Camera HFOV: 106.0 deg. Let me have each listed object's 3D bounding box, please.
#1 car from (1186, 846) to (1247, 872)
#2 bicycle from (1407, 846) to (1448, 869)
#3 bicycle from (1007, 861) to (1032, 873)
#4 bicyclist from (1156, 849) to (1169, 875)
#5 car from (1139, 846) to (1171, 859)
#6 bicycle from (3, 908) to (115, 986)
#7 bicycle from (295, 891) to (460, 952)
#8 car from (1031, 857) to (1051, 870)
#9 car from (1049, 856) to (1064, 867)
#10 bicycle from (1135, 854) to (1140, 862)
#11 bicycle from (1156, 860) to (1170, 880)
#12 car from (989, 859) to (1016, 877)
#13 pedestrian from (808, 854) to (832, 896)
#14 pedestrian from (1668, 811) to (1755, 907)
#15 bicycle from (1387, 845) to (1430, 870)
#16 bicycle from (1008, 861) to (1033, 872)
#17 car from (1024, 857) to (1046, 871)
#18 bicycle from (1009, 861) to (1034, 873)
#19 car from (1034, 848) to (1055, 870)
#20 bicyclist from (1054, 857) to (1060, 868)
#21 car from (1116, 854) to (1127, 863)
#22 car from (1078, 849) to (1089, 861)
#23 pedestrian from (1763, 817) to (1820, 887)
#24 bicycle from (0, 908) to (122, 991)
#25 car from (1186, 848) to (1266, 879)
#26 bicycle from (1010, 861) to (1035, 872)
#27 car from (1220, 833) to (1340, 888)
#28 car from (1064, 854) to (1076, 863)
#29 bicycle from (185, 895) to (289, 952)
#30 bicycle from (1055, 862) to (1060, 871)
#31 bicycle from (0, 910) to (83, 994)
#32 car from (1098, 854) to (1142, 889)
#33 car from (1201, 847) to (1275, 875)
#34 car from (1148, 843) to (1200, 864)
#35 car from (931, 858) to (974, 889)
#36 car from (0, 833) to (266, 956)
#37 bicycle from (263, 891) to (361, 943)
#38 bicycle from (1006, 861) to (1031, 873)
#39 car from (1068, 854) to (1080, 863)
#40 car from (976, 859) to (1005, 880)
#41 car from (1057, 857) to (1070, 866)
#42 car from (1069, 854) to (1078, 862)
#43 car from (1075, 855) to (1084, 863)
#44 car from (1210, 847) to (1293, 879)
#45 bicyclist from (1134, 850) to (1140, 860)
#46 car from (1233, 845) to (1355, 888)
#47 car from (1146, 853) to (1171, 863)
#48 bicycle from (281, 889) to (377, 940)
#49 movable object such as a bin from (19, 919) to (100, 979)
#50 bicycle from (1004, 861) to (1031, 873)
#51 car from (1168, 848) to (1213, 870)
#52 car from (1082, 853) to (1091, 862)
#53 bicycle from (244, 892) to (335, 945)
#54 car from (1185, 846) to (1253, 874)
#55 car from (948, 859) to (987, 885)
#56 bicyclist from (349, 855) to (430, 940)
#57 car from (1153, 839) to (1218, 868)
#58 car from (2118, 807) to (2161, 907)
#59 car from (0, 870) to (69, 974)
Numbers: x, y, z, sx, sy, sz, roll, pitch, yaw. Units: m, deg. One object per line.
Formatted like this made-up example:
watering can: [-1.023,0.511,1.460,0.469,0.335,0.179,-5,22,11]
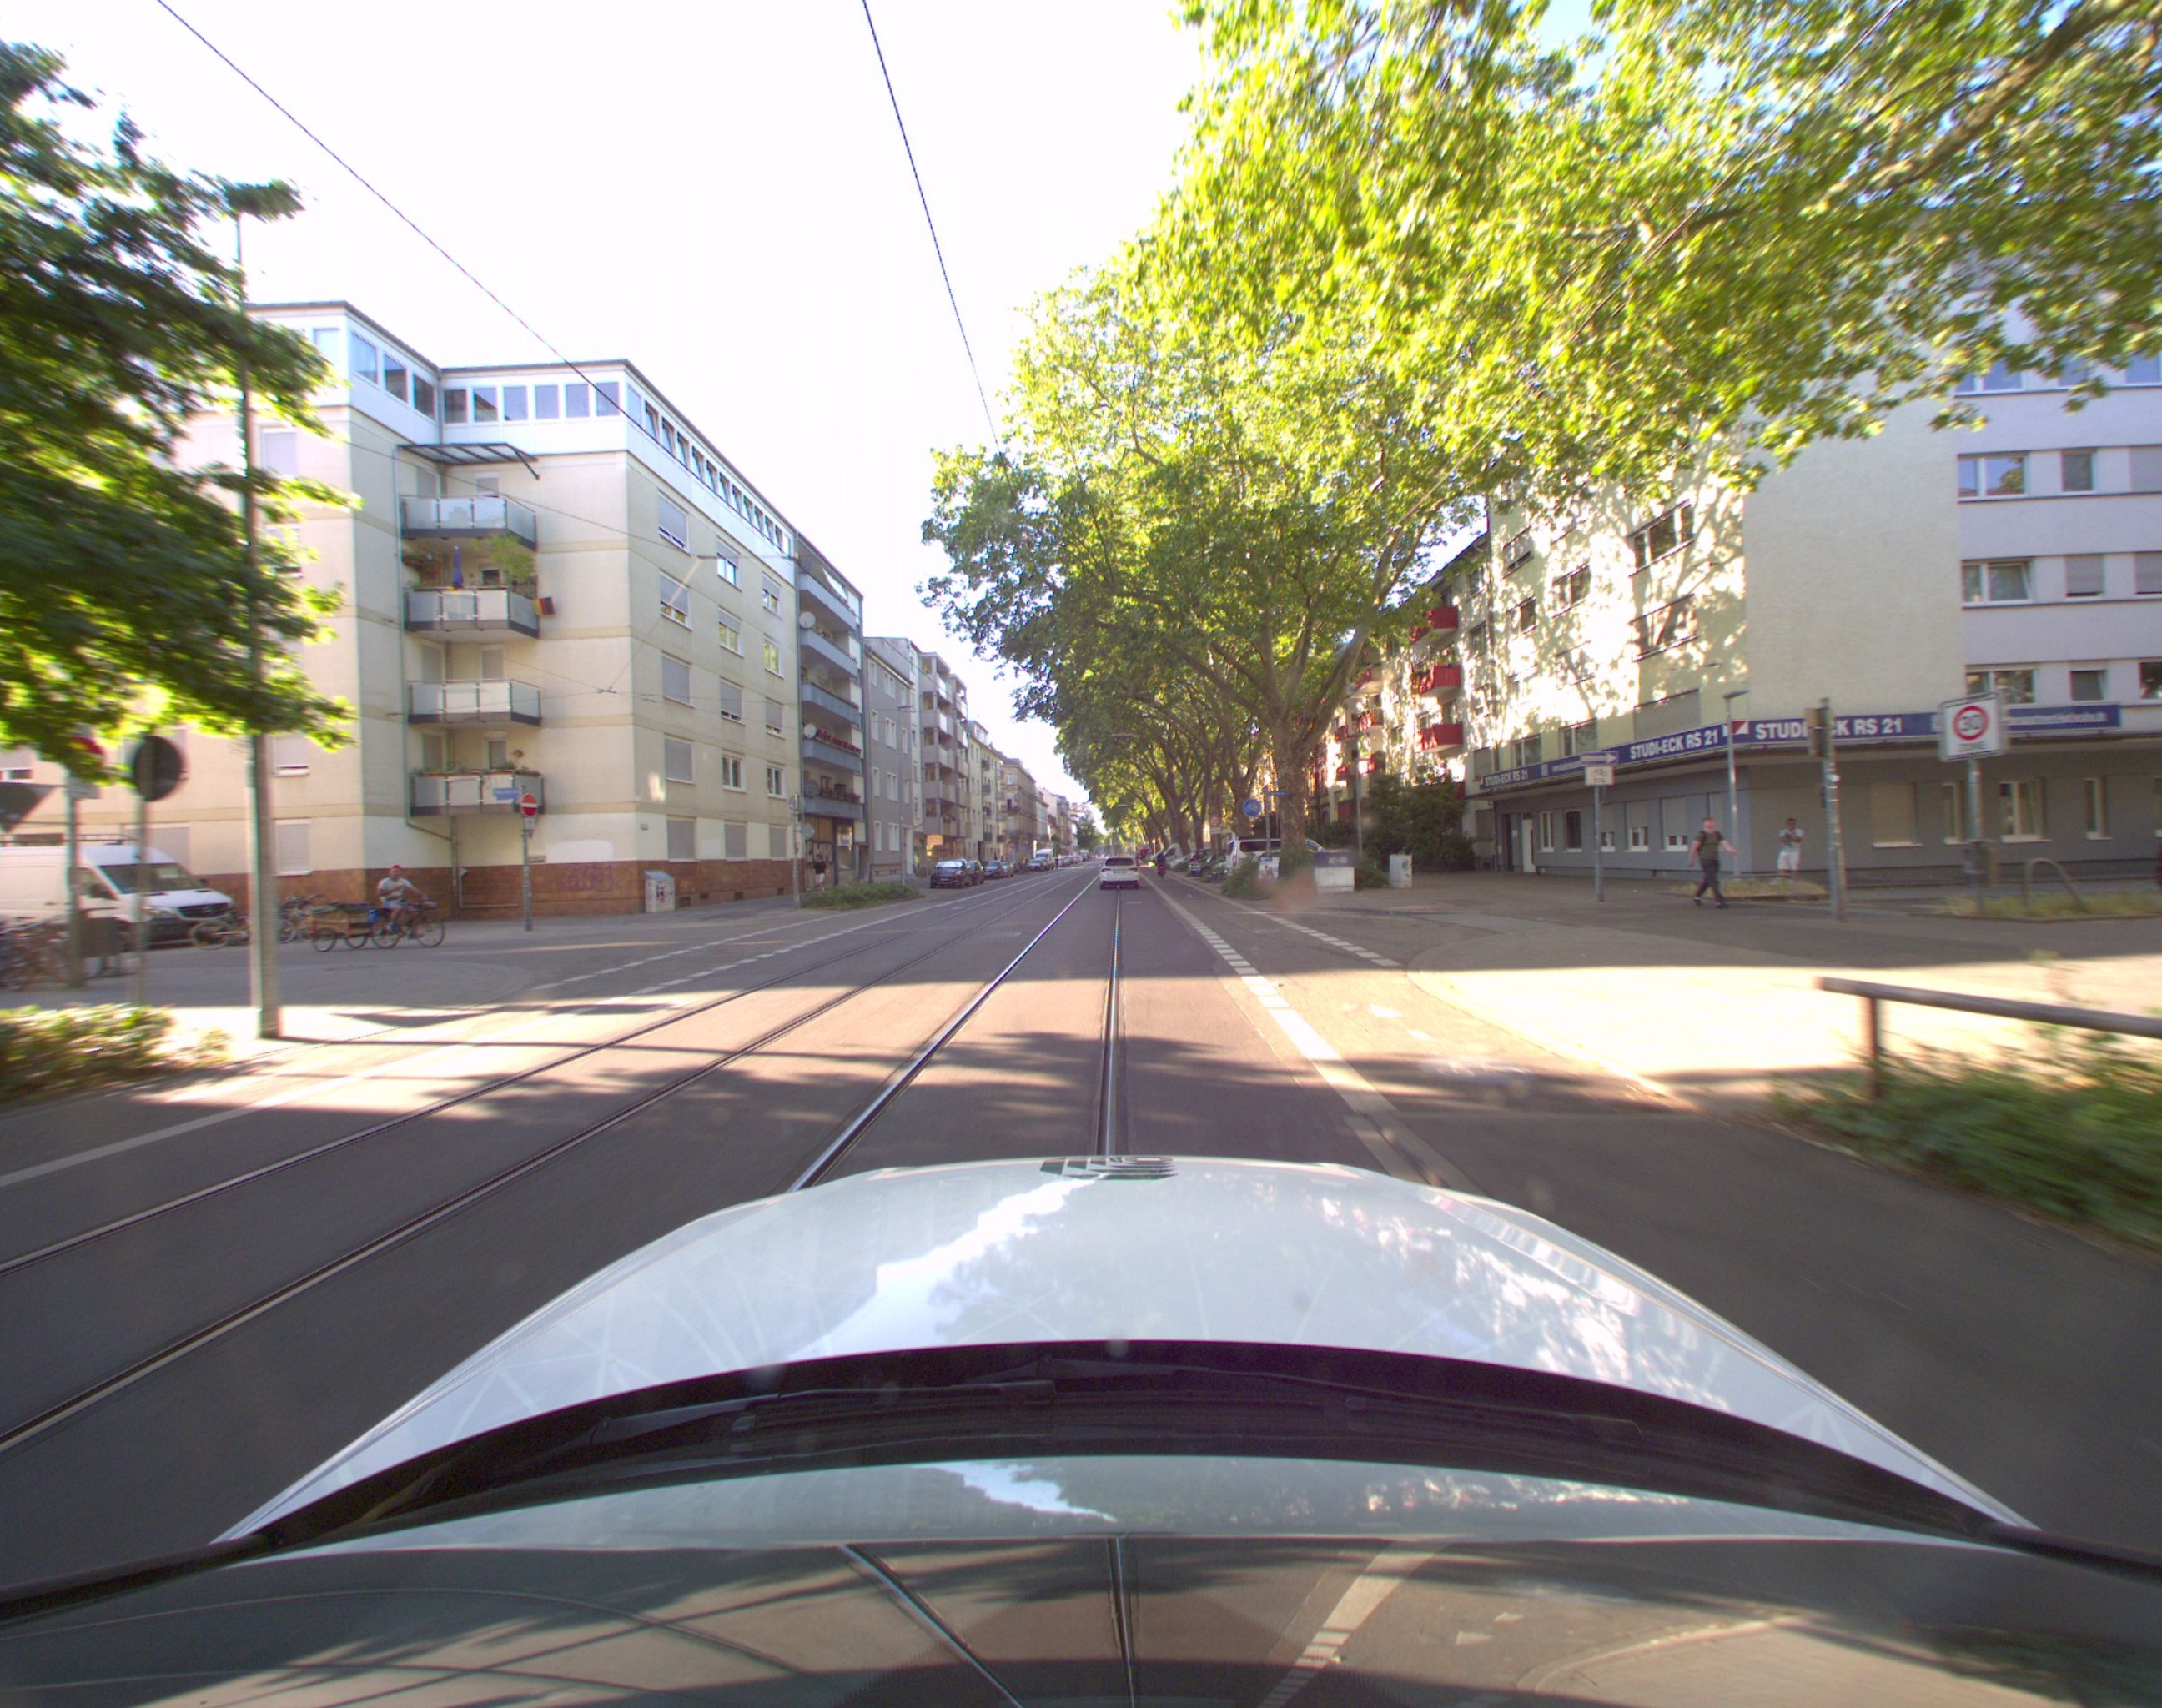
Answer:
car: [9.383,0.341,56.558,3.972,1.680,1.724,-2,0,1]
bicycle: [17.658,0.180,41.519,1.786,1.041,0.617,-4,-1,-2]
bicycle: [-6.156,1.277,81.612,2.518,1.172,0.718,0,-2,-3]
bicyclist: [4.602,0.434,46.055,0.675,1.443,1.048,-3,0,3]
car: [14.501,-0.219,160.221,6.109,2.282,2.529,-2,0,0]
bicycle: [-16.827,1.534,13.401,1.927,1.156,0.575,-4,-1,22]
bicycle: [-14.758,1.407,17.125,2.782,1.156,0.923,-2,0,5]
car: [-4.771,1.132,97.628,1.985,1.530,4.003,-2,0,3]
car: [-3.700,1.163,123.895,1.985,1.530,4.003,-2,0,3]
bicycle: [7.760,0.500,111.994,0.647,1.071,1.583,-3,0,1]
bicycle: [4.621,0.914,46.037,0.678,1.071,1.782,-3,0,3]
car: [-6.509,1.165,67.685,1.478,1.403,3.996,-2,0,5]
pedestrian: [-11.797,0.932,36.835,0.661,1.826,0.965,-2,0,1]
pedestrian: [12.873,0.095,16.659,0.764,1.866,1.188,-2,0,-1]
bicycle: [16.750,0.186,41.618,1.941,1.156,0.571,-4,-1,-5]
bicycle: [-6.134,1.275,82.601,2.518,1.172,0.718,0,-2,-3]
car: [-5.202,1.091,91.855,1.985,1.530,4.003,-2,0,3]
bicycle: [-6.097,1.355,83.448,2.518,1.172,0.718,0,-2,-3]
car: [-4.608,0.608,103.576,2.170,2.597,4.952,-2,0,3]
bicyclist: [-2.902,1.003,99.316,0.595,1.286,0.917,-3,0,0]
car: [7.166,0.786,143.381,1.754,1.475,4.003,-3,0,3]
car: [0.706,0.397,226.437,2.956,3.155,5.851,-1,-1,3]
pedestrian: [17.036,-0.046,19.538,0.743,1.644,0.666,-2,0,4]
bicycle: [-15.974,1.491,12.665,1.930,1.156,0.574,-4,-1,16]
car: [8.090,0.516,45.674,4.128,1.514,1.932,-2,0,1]
bicycle: [-6.041,1.284,84.504,2.519,1.172,0.718,0,-2,-4]
car: [8.344,0.259,34.440,4.529,2.076,2.000,-2,0,0]
car: [-2.125,0.897,153.189,1.985,1.530,4.003,-2,0,3]
bicycle: [-19.826,1.614,19.171,1.612,1.156,0.577,-4,-1,-42]
bicycle: [-2.875,1.523,99.268,0.603,1.071,1.583,-3,0,0]
bicycle: [-16.087,1.484,12.265,1.930,1.156,0.574,-4,-1,16]
car: [1.729,0.727,36.013,1.754,1.384,4.003,-3,0,3]
car: [9.226,0.409,48.078,3.972,1.514,1.761,-2,0,1]
car: [11.363,-0.093,100.030,6.109,2.282,2.529,-2,0,0]
car: [-7.349,1.067,46.906,1.696,1.650,4.242,0,0,1]
car: [-24.153,0.971,20.095,5.788,2.723,2.171,-2,0,0]
bicycle: [-19.475,1.578,20.649,1.747,1.156,0.583,-4,-1,-7]
bicycle: [-6.183,1.275,80.726,2.520,1.172,0.718,0,-2,-4]
car: [-1.339,0.917,159.859,1.985,1.640,4.003,-1,-1,3]
car: [-6.944,1.161,62.651,1.648,1.437,3.837,-2,0,1]
car: [-2.928,1.282,137.848,1.985,1.530,4.003,-2,0,3]
car: [-1.805,0.961,205.042,1.985,2.013,4.003,-2,0,3]
car: [-0.308,1.145,185.682,1.985,1.640,4.003,-1,-1,3]
car: [9.017,0.465,43.386,4.020,1.479,1.925,-2,0,2]
bicyclist: [7.730,0.188,112.014,0.647,1.344,0.934,-3,0,1]
car: [8.244,0.464,31.861,4.281,1.479,1.831,-2,0,1]
car: [13.000,0.713,136.033,4.033,1.540,2.001,-2,0,2]
bicycle: [-19.383,1.553,21.019,1.747,1.156,0.583,-4,-1,-7]
movable object such as a bin: [-18.241,1.689,14.556,0.592,0.973,0.639,-2,0,-8]
bicycle: [-6.222,1.273,79.895,2.544,1.172,0.873,1,-2,-37]
car: [9.292,0.412,69.189,3.617,1.666,1.824,-2,0,4]
car: [1.503,0.859,207.402,1.985,2.013,4.003,-2,0,3]
bicycle: [-19.454,1.579,20.022,1.740,1.156,0.585,-4,-1,6]
car: [9.165,0.376,54.256,4.219,1.666,1.848,-2,0,1]
car: [-7.187,1.130,52.052,1.695,1.544,4.244,0,0,3]
bicyclist: [-14.514,0.893,17.113,0.867,1.704,0.909,-2,0,5]
car: [10.361,-0.050,81.422,6.109,2.635,2.529,-2,0,0]
car: [19.239,-0.027,12.513,4.119,1.593,1.999,-2,0,-1]
car: [-21.642,1.313,14.349,4.862,1.822,2.037,-2,0,-2]
